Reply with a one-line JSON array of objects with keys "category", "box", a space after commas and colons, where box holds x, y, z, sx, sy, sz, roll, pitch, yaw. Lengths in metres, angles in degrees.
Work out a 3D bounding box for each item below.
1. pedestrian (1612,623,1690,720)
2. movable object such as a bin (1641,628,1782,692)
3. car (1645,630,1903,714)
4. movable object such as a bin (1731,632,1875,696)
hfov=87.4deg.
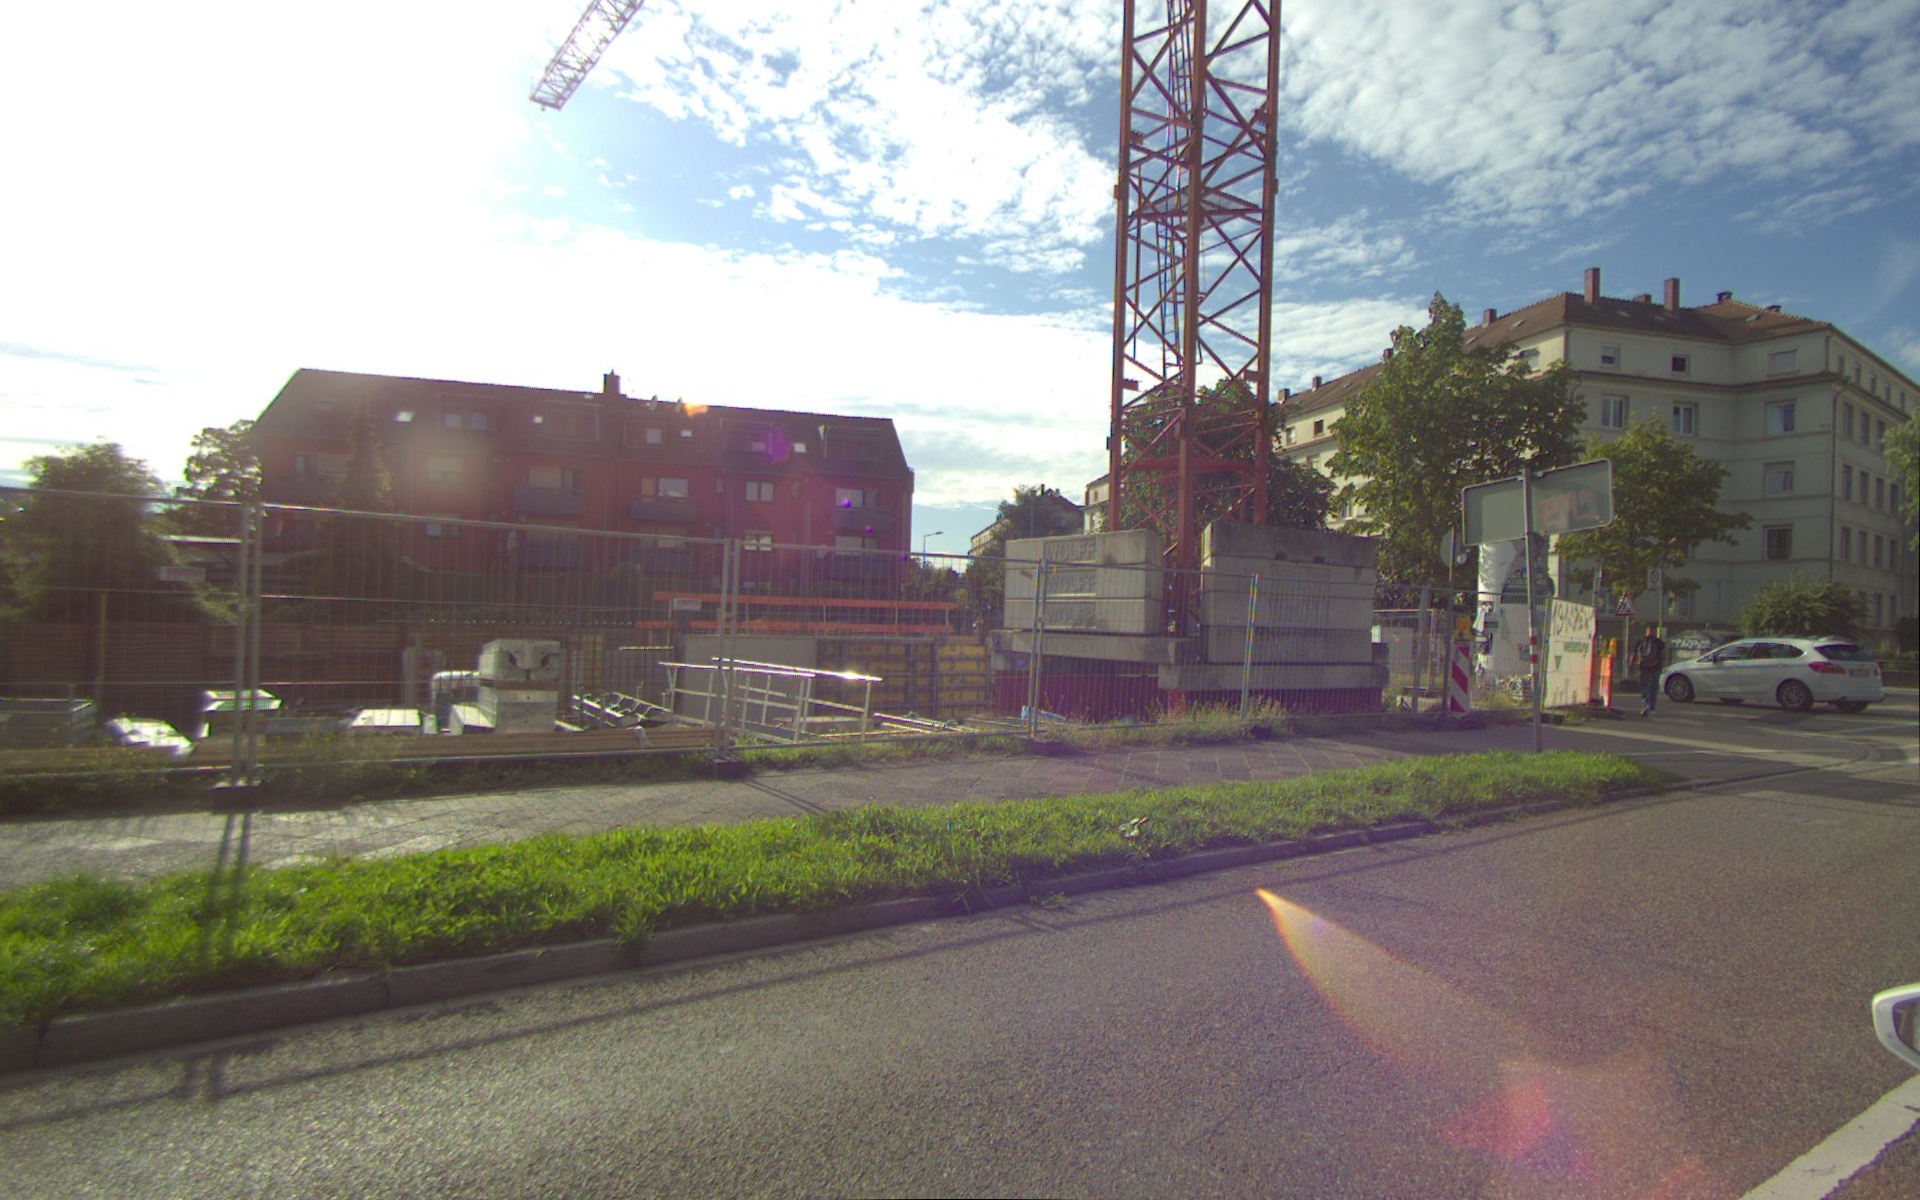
[{"category": "pedestrian", "box": [13.258, 1.358, 19.266, 1.171, 1.751, 0.997, 4, -2, -44]}, {"category": "movable object such as a bin", "box": [22.794, 1.790, 30.598, 1.523, 1.730, 3.101, 3, 0, -17]}, {"category": "car", "box": [18.447, 1.572, 23.062, 1.966, 1.575, 4.262, 3, 0, -14]}, {"category": "movable object such as a bin", "box": [25.841, 1.921, 30.904, 1.388, 1.730, 3.100, 3, 0, -18]}]
